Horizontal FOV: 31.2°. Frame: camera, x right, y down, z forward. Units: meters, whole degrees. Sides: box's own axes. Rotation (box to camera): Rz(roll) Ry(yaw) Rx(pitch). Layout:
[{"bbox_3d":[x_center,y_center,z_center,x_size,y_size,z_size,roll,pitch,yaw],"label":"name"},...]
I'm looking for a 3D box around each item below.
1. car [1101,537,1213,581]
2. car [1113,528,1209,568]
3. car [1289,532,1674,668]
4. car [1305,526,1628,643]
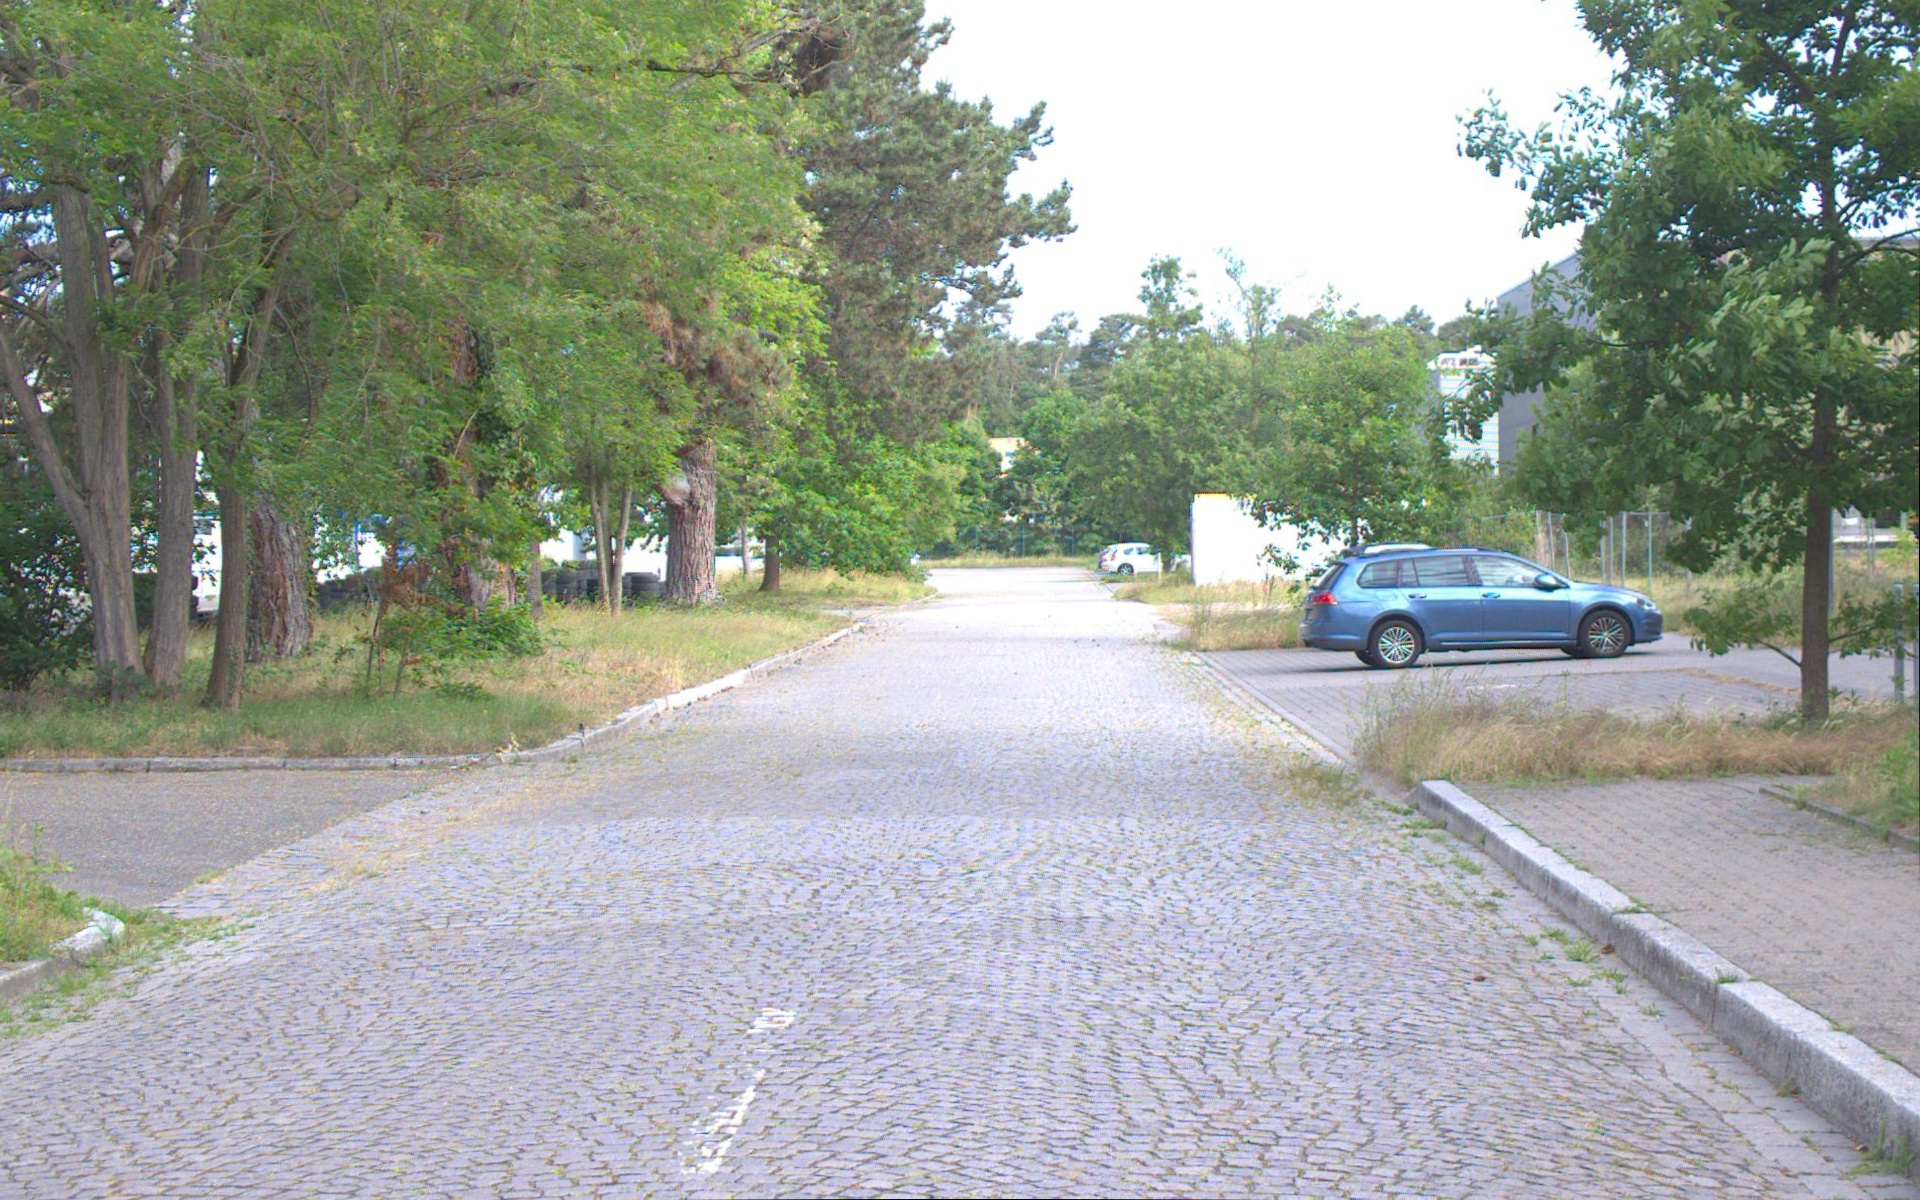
[{"bbox_3d":[7.857,-1.641,137.334,4.355,1.682,1.925,-1,1,1],"label":"car"},{"bbox_3d":[9.261,-2.409,158.286,4.355,1.774,1.925,-1,1,3],"label":"car"},{"bbox_3d":[6.589,-0.021,43.809,4.517,1.526,2.000,-2,1,-2],"label":"car"},{"bbox_3d":[7.481,-0.247,51.105,4.518,1.526,2.000,-2,1,2],"label":"car"}]
